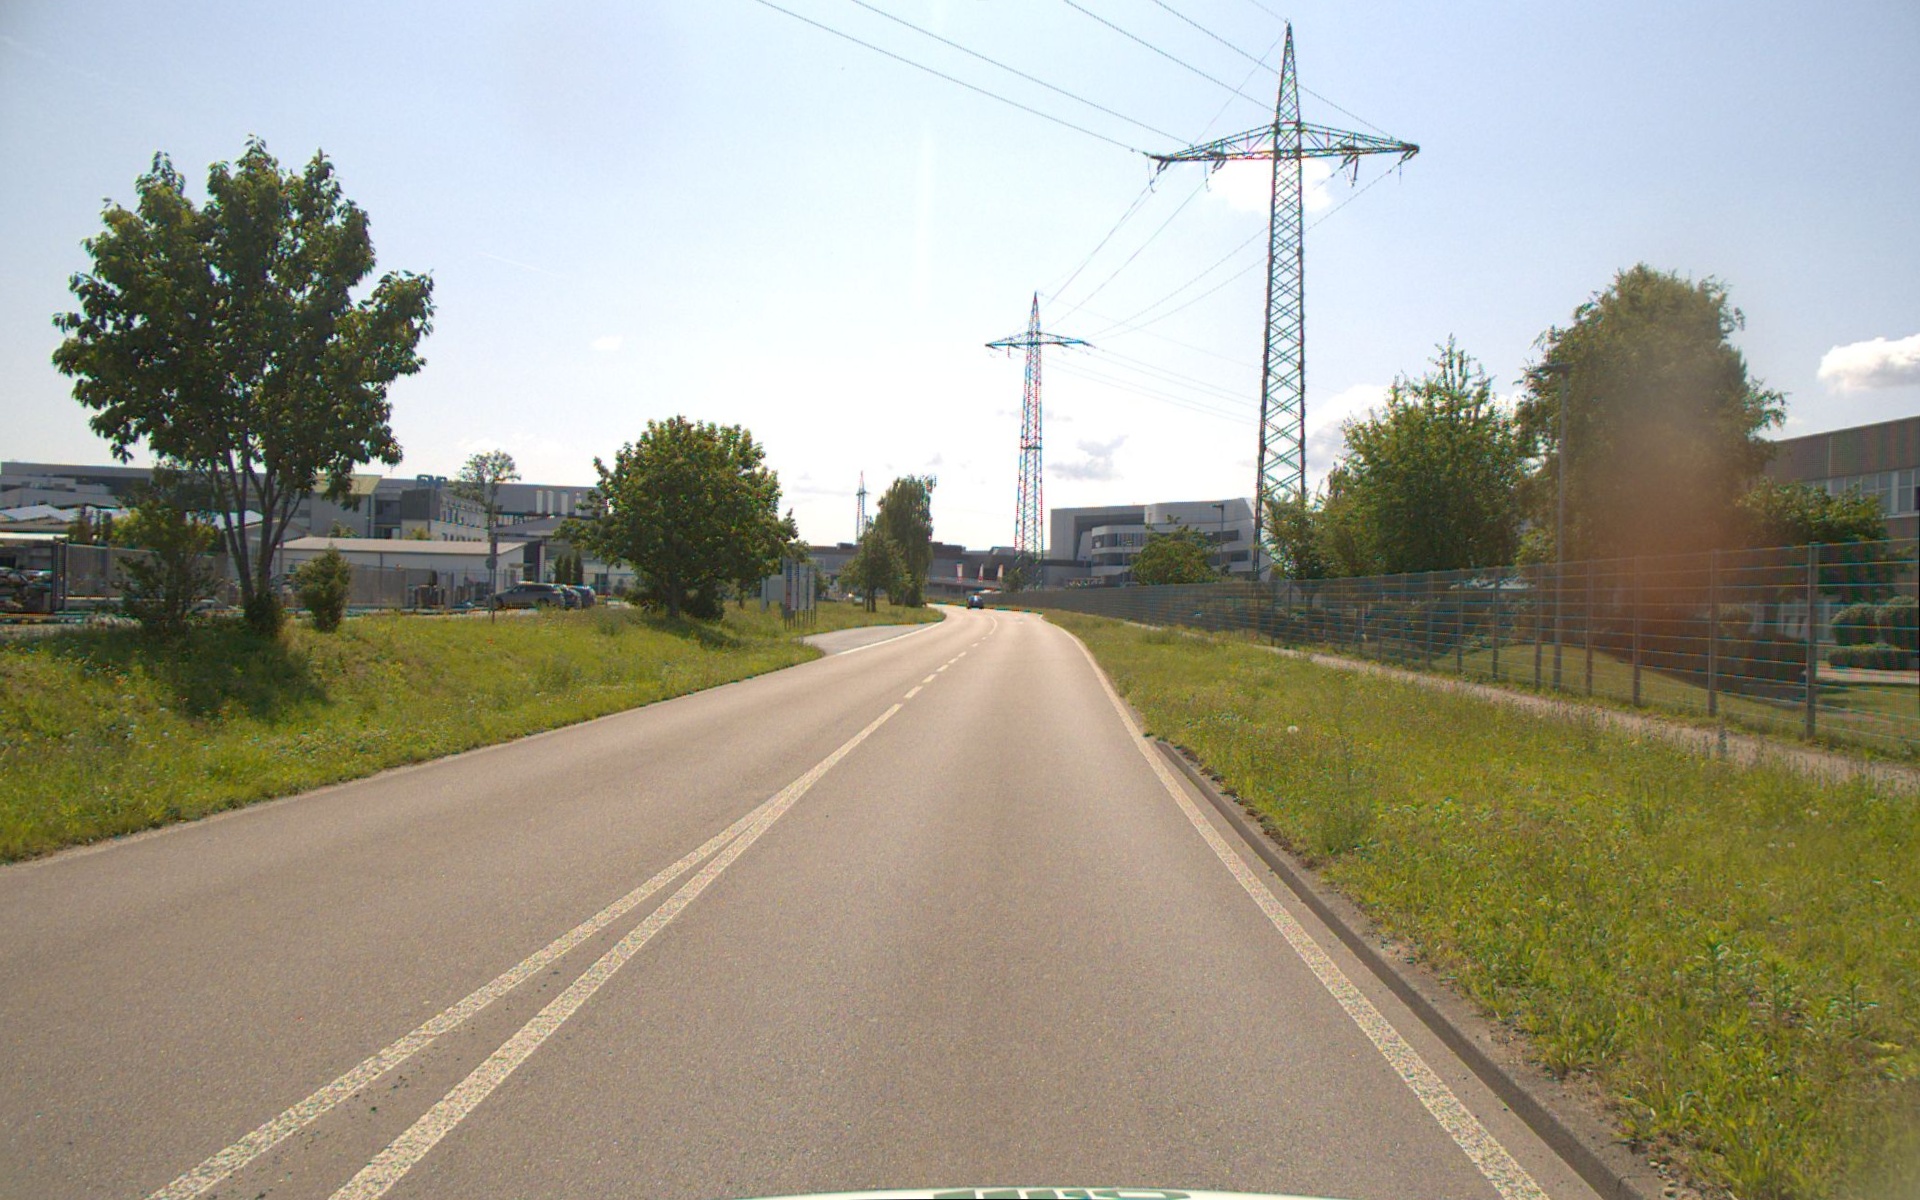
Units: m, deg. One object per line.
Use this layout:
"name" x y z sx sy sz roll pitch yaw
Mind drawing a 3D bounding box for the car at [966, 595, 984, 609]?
"car" 1.779 0.225 196.549 1.971 1.534 3.999 2 0 -1

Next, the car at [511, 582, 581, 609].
"car" -25.679 -0.276 102.752 3.908 1.582 1.664 2 0 -4

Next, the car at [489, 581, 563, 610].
"car" -25.798 -0.257 98.356 3.908 1.554 1.999 2 0 -4

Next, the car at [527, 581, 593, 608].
"car" -26.378 -0.375 109.227 3.908 1.668 1.999 2 0 -4
